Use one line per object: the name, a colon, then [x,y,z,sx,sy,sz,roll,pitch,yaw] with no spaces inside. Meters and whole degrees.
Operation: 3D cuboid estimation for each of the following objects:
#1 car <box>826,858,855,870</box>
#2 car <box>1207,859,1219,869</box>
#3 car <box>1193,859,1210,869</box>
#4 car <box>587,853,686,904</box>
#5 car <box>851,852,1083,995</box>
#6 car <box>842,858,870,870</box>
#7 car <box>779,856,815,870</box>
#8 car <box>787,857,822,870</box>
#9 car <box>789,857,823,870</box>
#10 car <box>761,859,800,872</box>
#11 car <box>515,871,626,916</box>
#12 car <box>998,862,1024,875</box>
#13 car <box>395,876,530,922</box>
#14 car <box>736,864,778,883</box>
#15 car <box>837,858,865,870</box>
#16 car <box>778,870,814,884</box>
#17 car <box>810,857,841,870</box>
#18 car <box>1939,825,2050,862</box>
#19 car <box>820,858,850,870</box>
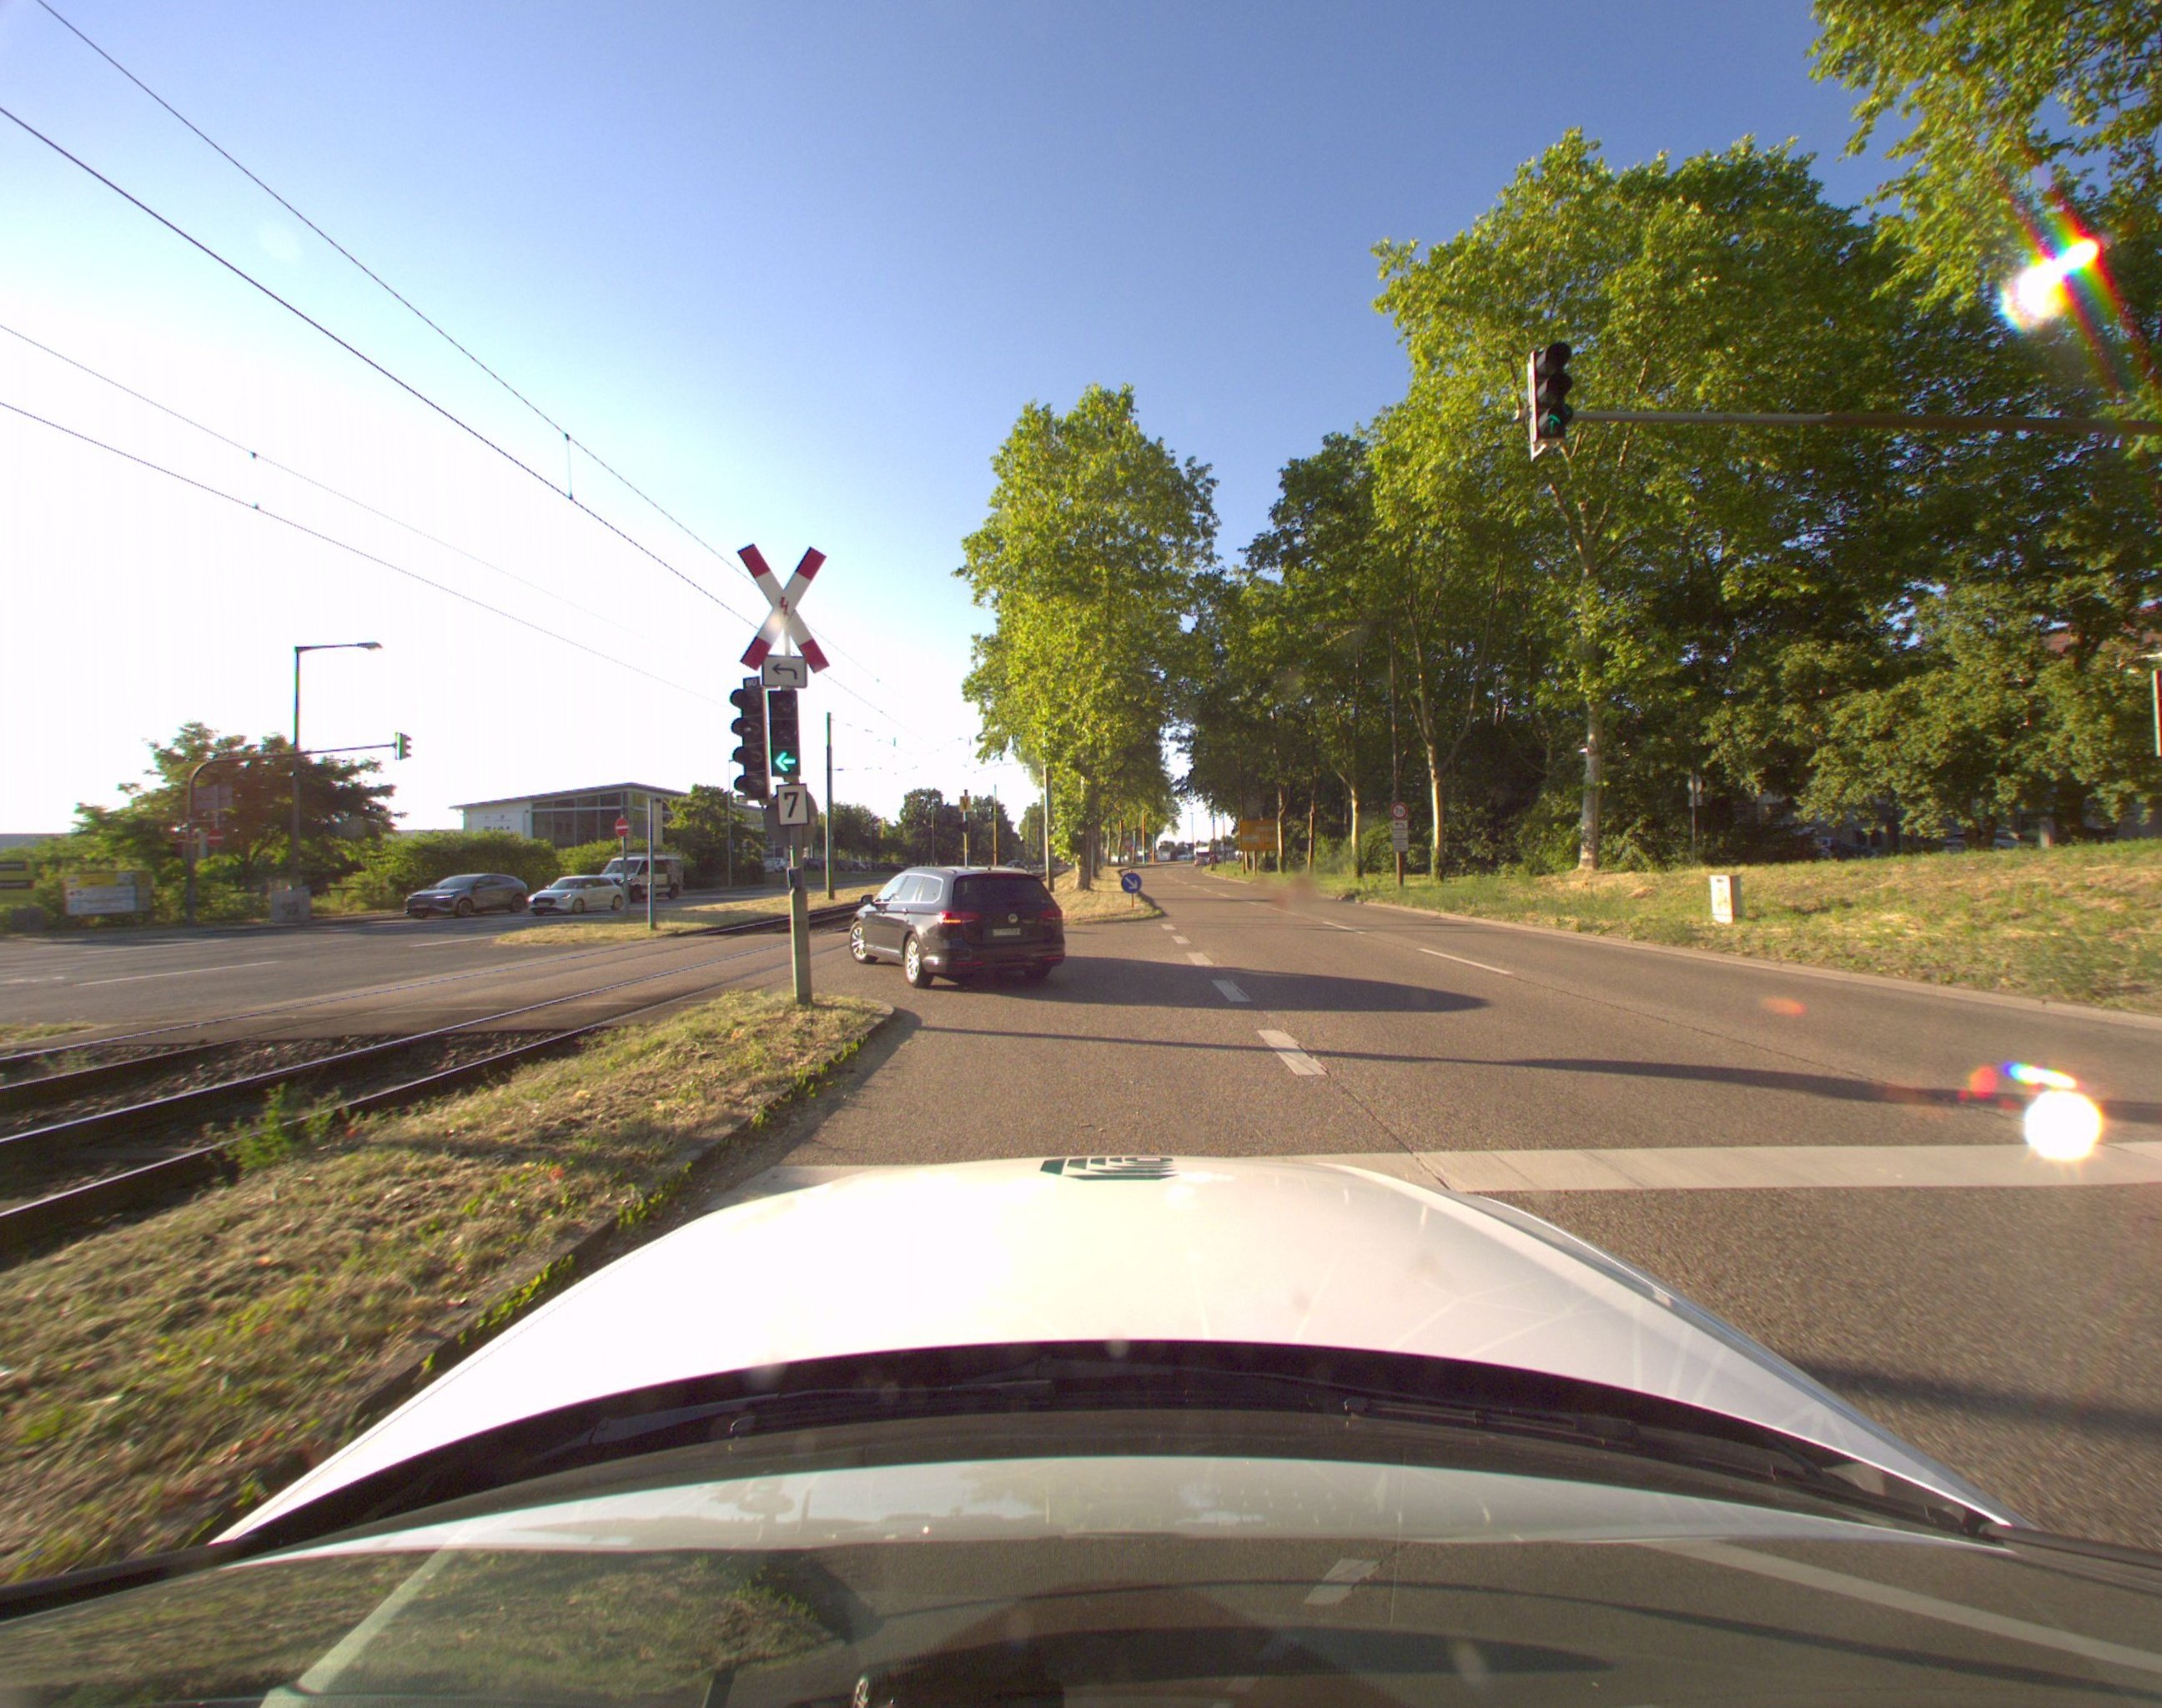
car: [-32.745,1.354,110.811,3.797,1.567,1.749,0,-1,-18]
car: [21.612,1.640,133.298,1.981,1.440,4.011,-1,-1,10]
car: [18.283,1.541,123.337,1.978,1.442,4.018,-1,-1,17]
car: [-24.016,1.286,44.316,1.995,2.566,5.879,-1,-1,2]
car: [-1.770,0.798,11.181,1.835,1.556,4.219,0,-1,-28]
car: [-32.361,1.453,116.964,3.797,1.567,1.749,0,-1,-18]
car: [-31.505,1.000,90.442,3.797,1.567,1.749,0,-1,-18]
car: [-32.553,1.103,95.924,3.797,1.567,1.749,0,-1,-18]
car: [-33.360,1.167,98.889,3.797,1.567,1.749,0,-1,-18]
car: [-31.799,1.221,86.274,3.797,1.388,1.749,0,-1,-18]
car: [-20.448,1.543,32.833,1.863,1.618,4.000,-1,-1,1]
car: [-9.631,1.995,111.582,1.792,1.684,4.022,-1,-1,24]
car: [-24.500,1.743,32.505,1.863,1.618,4.548,-1,-1,1]
car: [-32.880,1.954,82.712,3.797,1.860,1.749,0,-1,-18]
car: [-32.212,1.404,114.171,3.797,1.567,1.749,0,-1,-18]
car: [-32.442,2.571,92.730,3.797,1.567,1.749,0,-1,-18]
car: [-32.786,1.250,104.615,3.797,1.567,1.749,0,-1,-18]
car: [43.325,-0.480,38.658,3.994,1.706,1.908,0,-1,-15]
car: [-32.612,1.305,108.003,3.797,1.567,1.749,0,-1,-18]
